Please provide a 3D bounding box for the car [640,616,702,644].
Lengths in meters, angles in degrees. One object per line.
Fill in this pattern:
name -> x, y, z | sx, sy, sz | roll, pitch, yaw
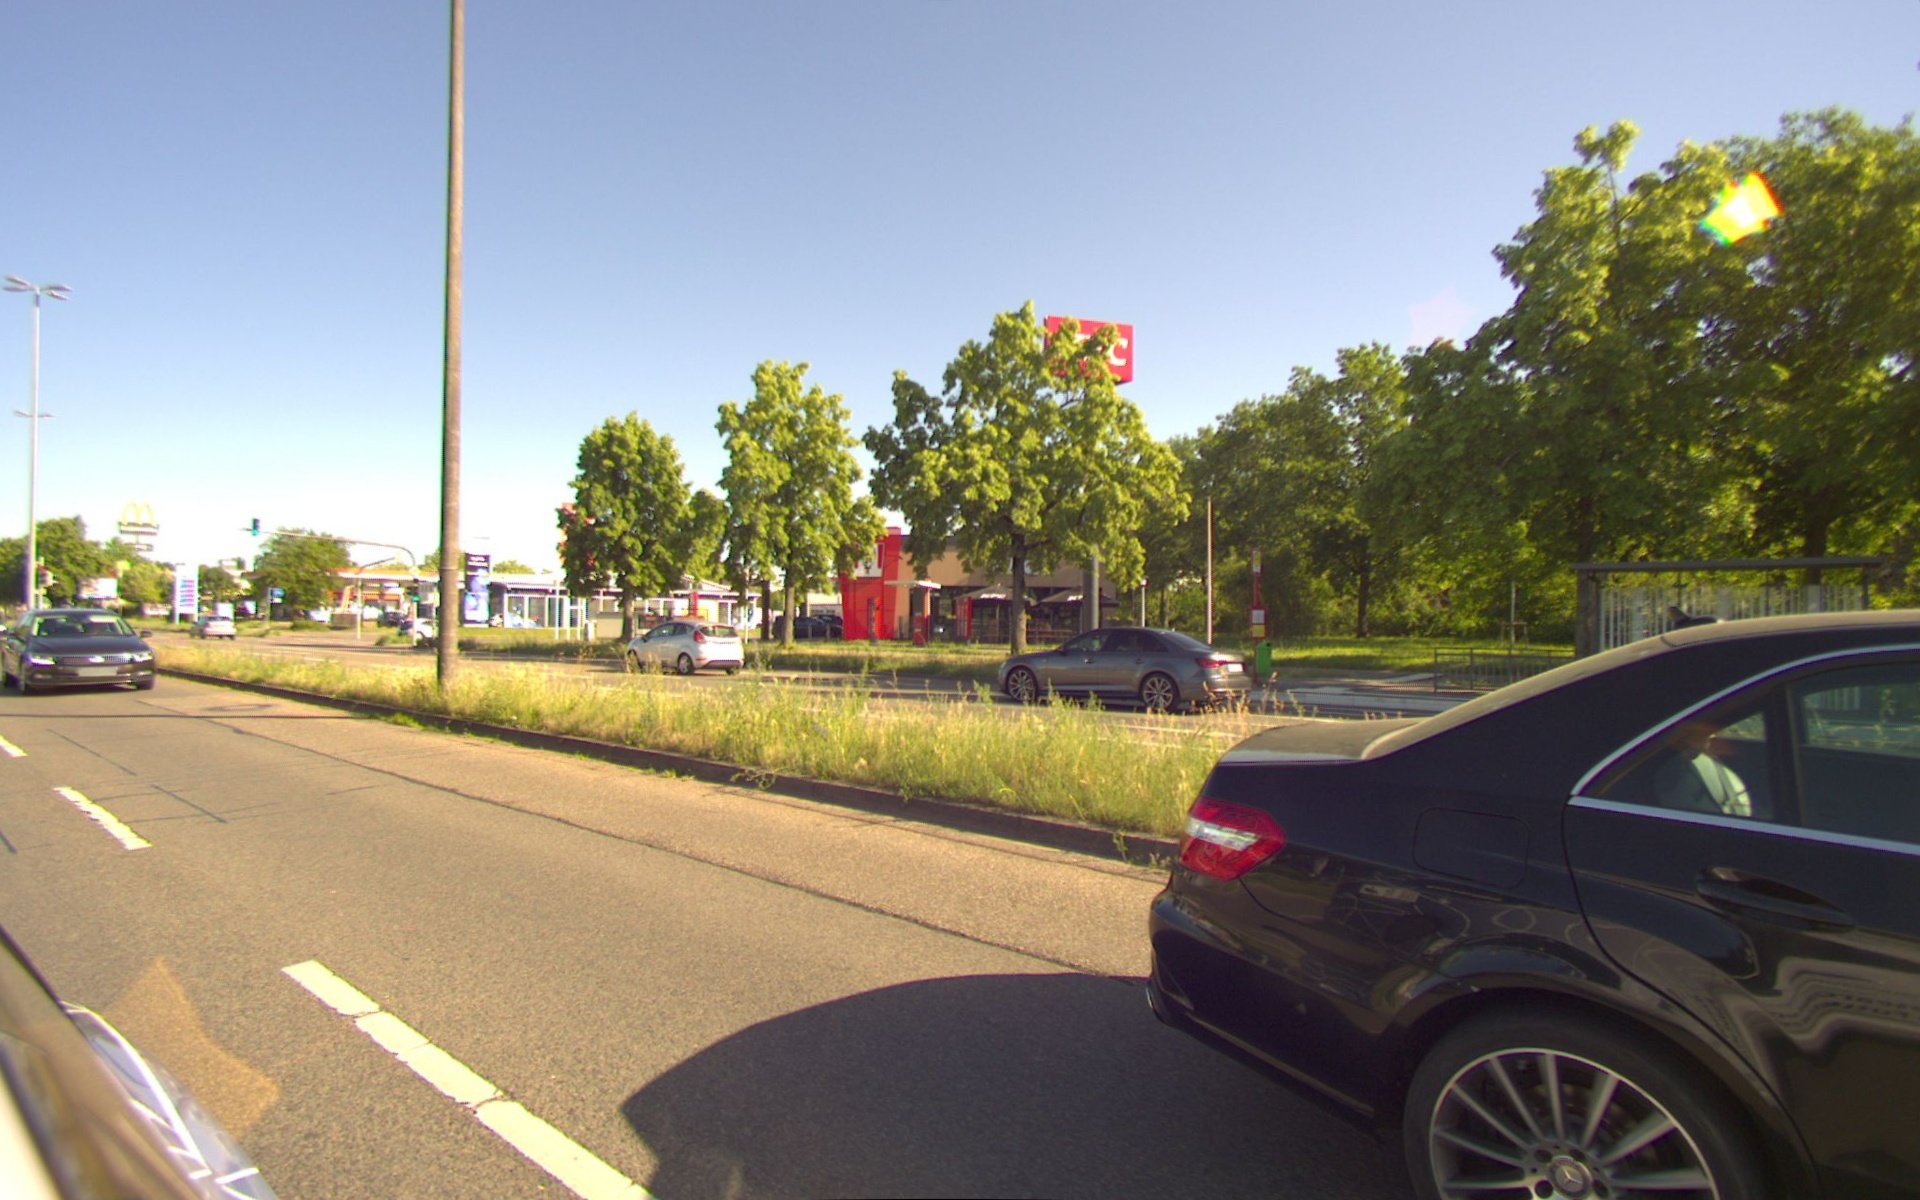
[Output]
car -> -19.967, 2.053, 70.082 | 3.778, 1.864, 1.846 | 0, 0, 2

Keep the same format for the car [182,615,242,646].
car -> -44.253, 1.798, 59.876 | 4.175, 1.697, 1.972 | 0, -3, 41

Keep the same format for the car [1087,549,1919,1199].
car -> 2.800, 0.672, 1.761 | 4.917, 1.494, 1.938 | -1, -1, 42

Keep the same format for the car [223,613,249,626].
car -> -94.894, 2.529, 132.590 | 4.116, 1.625, 1.739 | 0, -3, 40

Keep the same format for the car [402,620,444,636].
car -> -48.578, 2.503, 91.528 | 4.116, 1.335, 1.876 | 0, -3, 40

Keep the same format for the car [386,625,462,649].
car -> -35.838, 2.459, 67.808 | 1.987, 1.485, 4.163 | 0, -2, 23

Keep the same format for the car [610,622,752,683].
car -> -7.538, 1.384, 27.124 | 4.109, 1.462, 1.624 | 0, -4, 41

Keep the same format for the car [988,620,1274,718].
car -> 2.860, 1.137, 17.590 | 4.628, 1.446, 1.798 | 0, -4, 41

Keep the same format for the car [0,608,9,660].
car -> -33.619, 1.126, 34.045 | 4.694, 1.696, 1.973 | 0, 0, 41

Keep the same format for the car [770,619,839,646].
car -> -9.906, 2.072, 64.827 | 4.181, 1.674, 1.896 | 0, 0, -1

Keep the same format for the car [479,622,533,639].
car -> -41.082, 2.771, 91.630 | 1.900, 1.443, 4.063 | 0, -3, 41

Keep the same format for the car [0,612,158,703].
car -> -16.227, 0.955, 18.459 | 4.264, 1.464, 1.824 | -1, -1, 42

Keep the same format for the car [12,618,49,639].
car -> -79.559, 2.450, 86.629 | 4.169, 1.654, 1.855 | 0, -3, 41

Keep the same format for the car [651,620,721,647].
car -> -17.712, 2.168, 65.603 | 4.074, 1.674, 1.896 | 0, 0, -1
